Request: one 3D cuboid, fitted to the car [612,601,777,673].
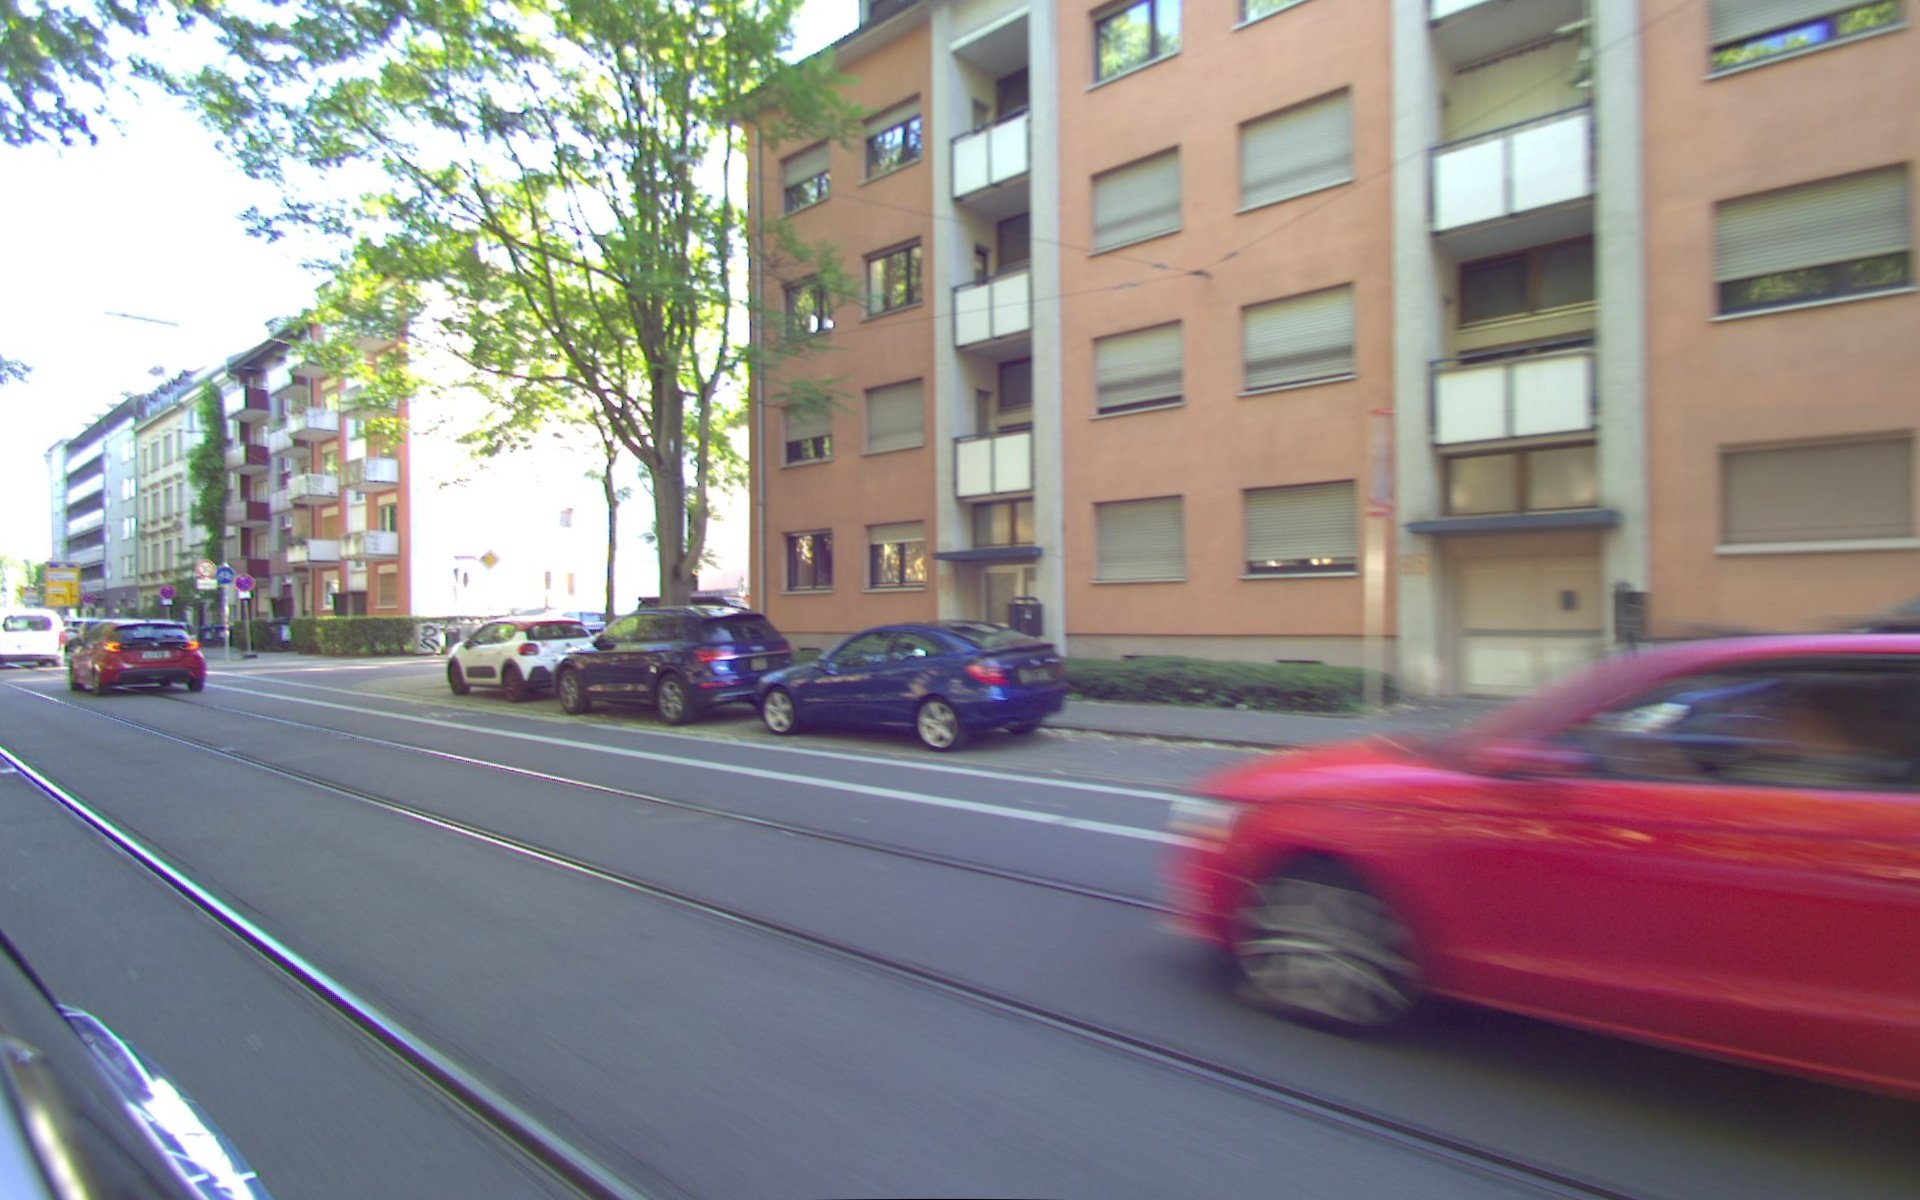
[{"bbox_3d":[-8.353,1.148,31.971,4.676,2.139,1.992,-1,0,13],"label":"car"}]

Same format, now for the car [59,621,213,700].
[{"bbox_3d":[-17.101,1.189,20.937,4.200,1.469,1.757,-1,-2,41],"label":"car"}]

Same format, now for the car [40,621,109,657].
[{"bbox_3d":[-45.303,1.967,51.757,4.878,1.661,1.933,-1,1,40],"label":"car"}]

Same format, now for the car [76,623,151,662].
[{"bbox_3d":[-37.536,1.841,44.855,4.001,1.599,1.801,-2,0,39],"label":"car"}]

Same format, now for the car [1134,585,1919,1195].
[{"bbox_3d":[2.745,0.712,3.149,4.067,1.448,1.705,-1,-2,41],"label":"car"}]

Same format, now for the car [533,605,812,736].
[{"bbox_3d":[-4.479,0.976,15.385,4.584,1.622,1.763,-2,2,40],"label":"car"}]

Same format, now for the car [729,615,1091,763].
[{"bbox_3d":[-0.741,0.957,12.296,4.379,1.411,1.721,-2,1,40],"label":"car"}]

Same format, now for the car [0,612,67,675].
[{"bbox_3d":[-30.018,1.346,32.143,4.893,1.846,1.872,-1,-1,41],"label":"car"}]

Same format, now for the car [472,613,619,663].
[{"bbox_3d":[-14.737,1.292,36.138,1.937,1.618,4.485,0,0,41],"label":"car"}]

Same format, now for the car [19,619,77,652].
[{"bbox_3d":[-53.290,2.072,59.082,4.465,1.784,1.771,-2,0,38],"label":"car"}]

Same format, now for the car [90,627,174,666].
[{"bbox_3d":[-33.864,1.863,41.343,4.862,1.405,1.932,-2,1,42],"label":"car"}]

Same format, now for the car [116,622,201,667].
[{"bbox_3d":[-29.905,1.639,37.733,3.927,1.494,1.708,-1,1,40],"label":"car"}]

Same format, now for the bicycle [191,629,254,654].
[{"bbox_3d":[-37.005,2.065,50.816,0.698,1.070,2.427,-2,1,38],"label":"bicycle"}]

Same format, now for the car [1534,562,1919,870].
[{"bbox_3d":[6.417,0.608,5.887,5.067,1.699,1.932,-2,0,40],"label":"car"}]

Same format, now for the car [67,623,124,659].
[{"bbox_3d":[-41.136,1.914,48.137,3.781,1.583,1.608,-1,1,43],"label":"car"}]

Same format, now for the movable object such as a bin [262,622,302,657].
[{"bbox_3d":[-27.429,1.601,40.960,0.747,1.375,1.198,-2,-2,42],"label":"movable object such as a bin"}]

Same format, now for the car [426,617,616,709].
[{"bbox_3d":[-8.447,1.110,19.324,4.089,1.489,1.787,-1,1,42],"label":"car"}]
